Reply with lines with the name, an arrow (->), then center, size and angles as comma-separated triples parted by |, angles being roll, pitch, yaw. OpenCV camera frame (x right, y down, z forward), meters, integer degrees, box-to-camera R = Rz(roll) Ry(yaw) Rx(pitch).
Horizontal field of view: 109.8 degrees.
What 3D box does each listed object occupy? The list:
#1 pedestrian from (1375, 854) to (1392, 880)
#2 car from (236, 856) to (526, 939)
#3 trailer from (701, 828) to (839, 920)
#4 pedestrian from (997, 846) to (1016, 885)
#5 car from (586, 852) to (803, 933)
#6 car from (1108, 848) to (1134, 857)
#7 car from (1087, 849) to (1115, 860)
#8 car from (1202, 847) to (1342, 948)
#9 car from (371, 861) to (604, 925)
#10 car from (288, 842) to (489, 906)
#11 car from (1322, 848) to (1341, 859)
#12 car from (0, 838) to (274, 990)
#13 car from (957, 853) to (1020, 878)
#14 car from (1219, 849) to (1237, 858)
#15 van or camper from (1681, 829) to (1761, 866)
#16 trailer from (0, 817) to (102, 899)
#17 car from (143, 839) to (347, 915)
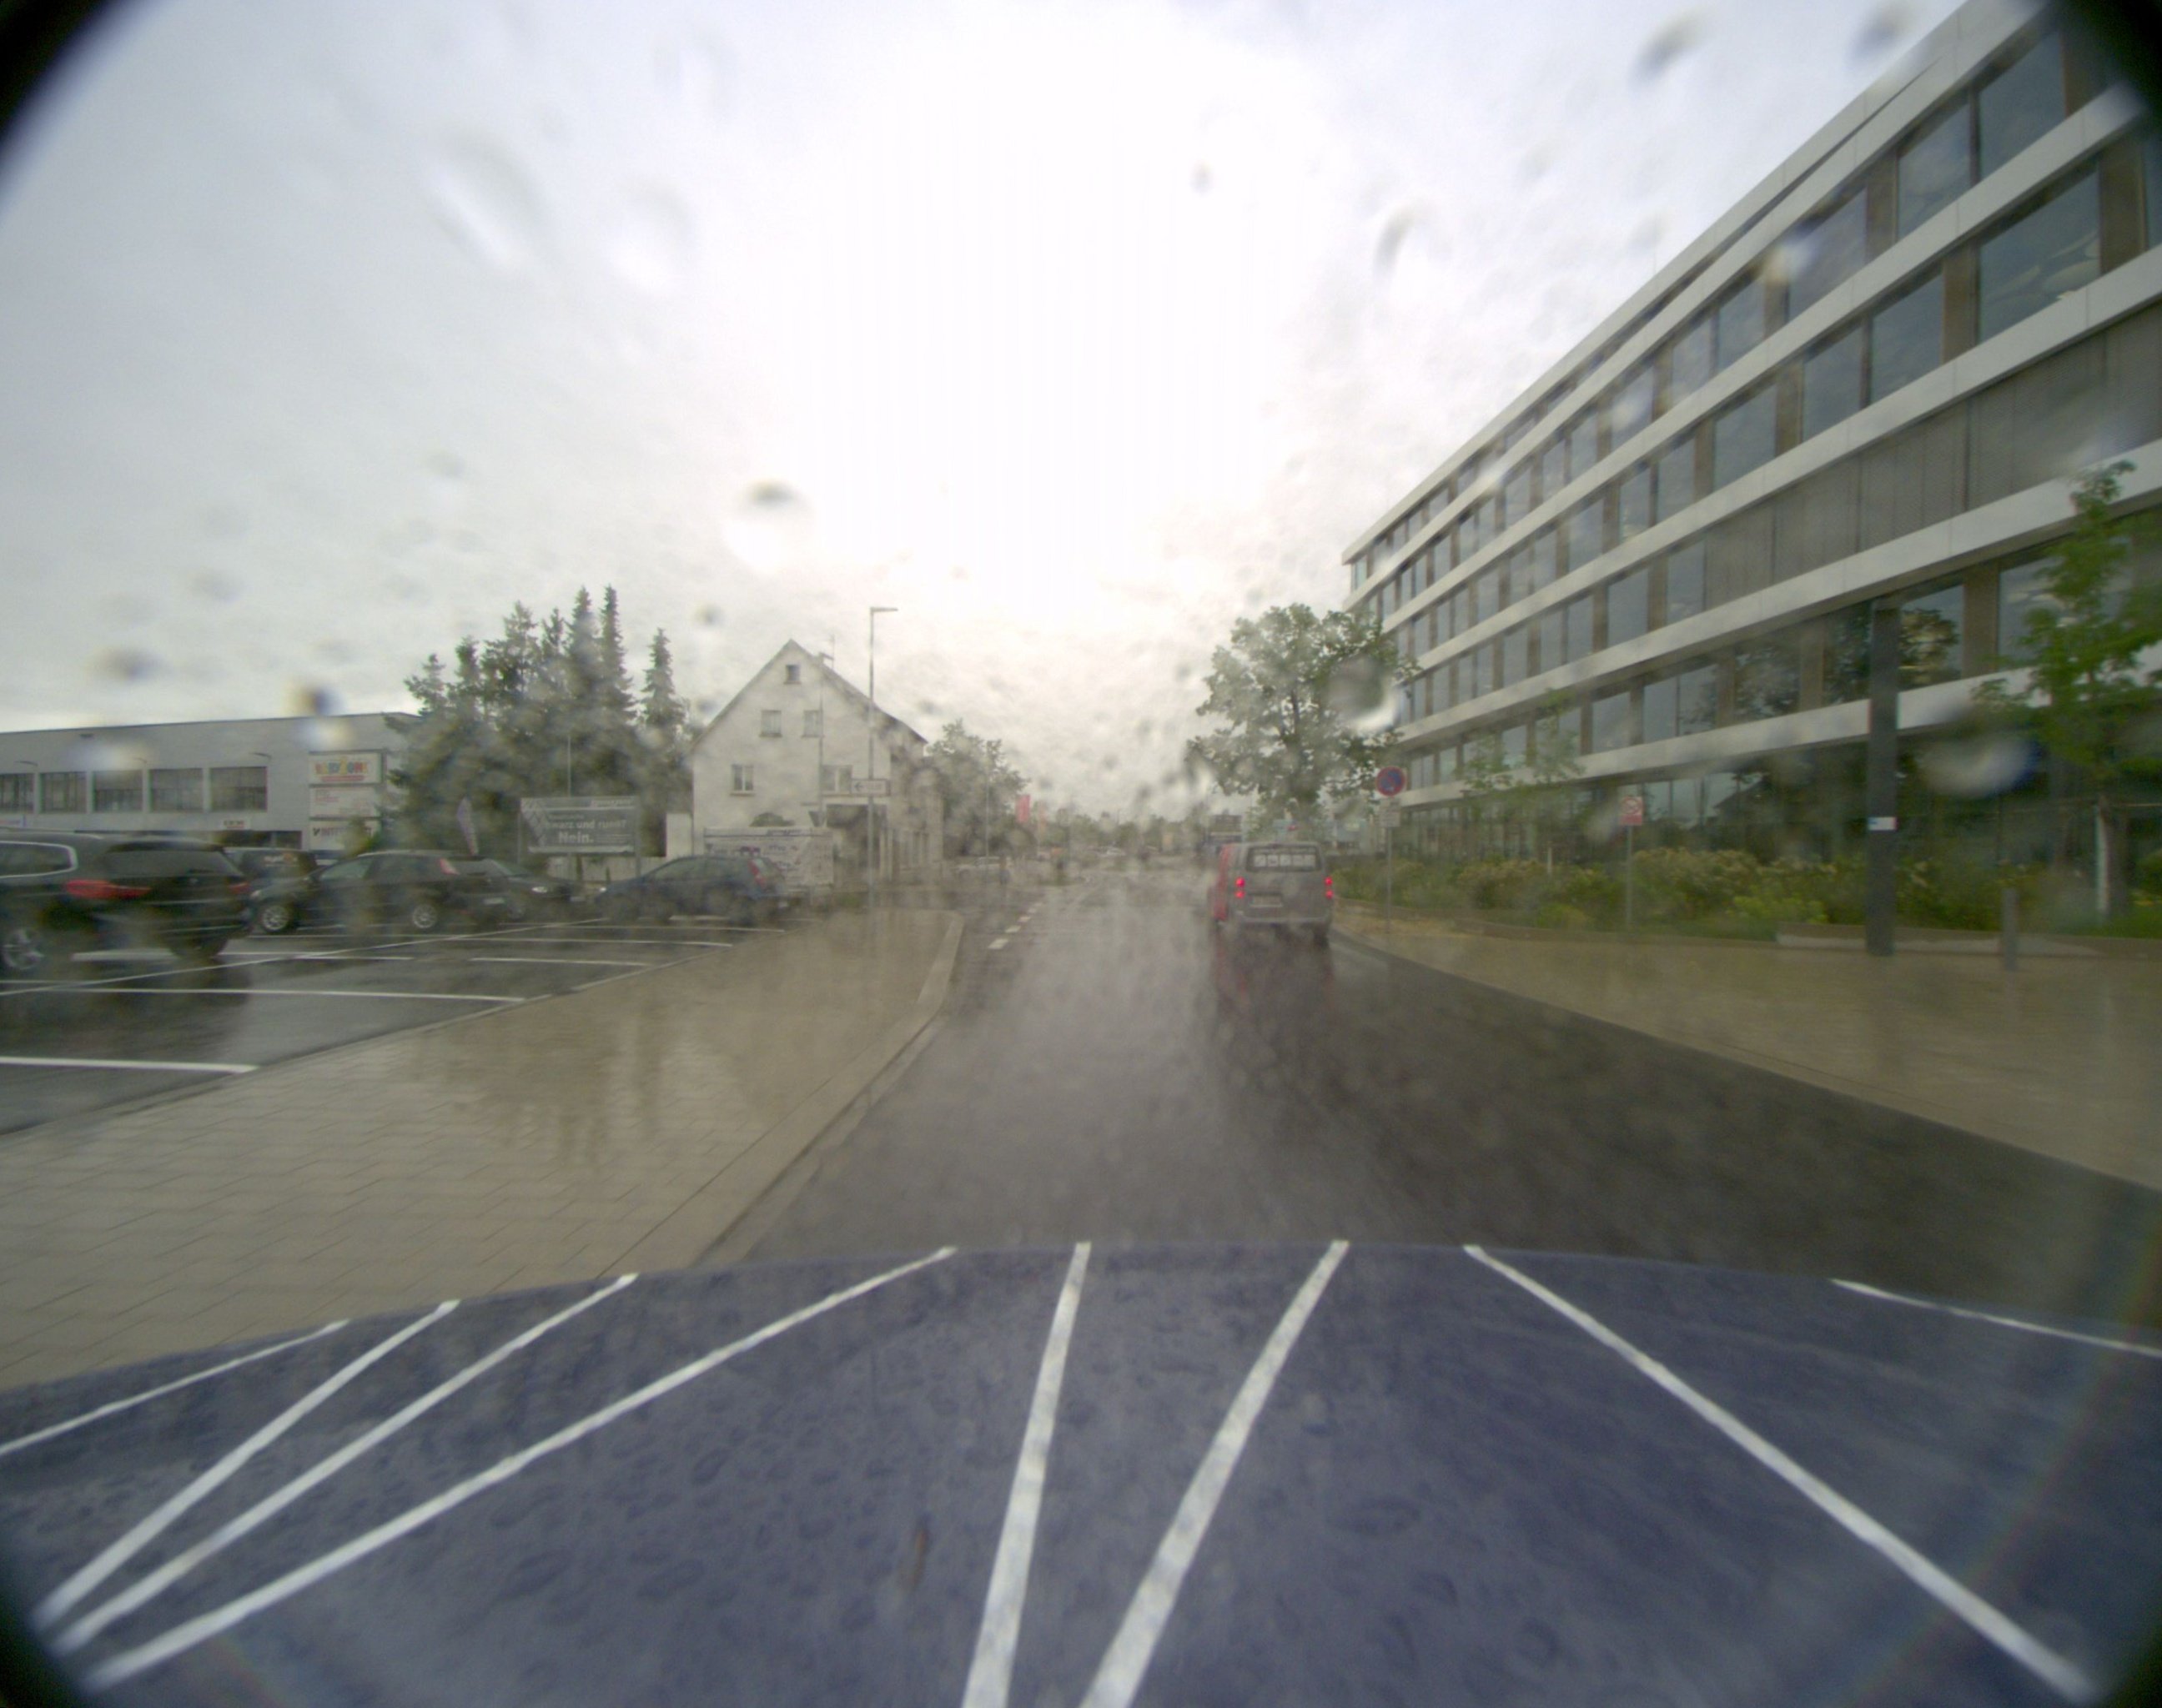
pedestrian -> 20.800, 0.881, 52.269 | 0.726, 1.694, 0.956 | -3, 2, 4
car -> -12.898, 0.776, 14.194 | 3.736, 1.440, 1.730 | 0, 0, -3
trailer -> -7.516, 0.471, 18.544 | 2.708, 2.159, 1.548 | 0, 0, 3
pedestrian -> -4.048, 0.616, 41.154 | 0.861, 2.002, 1.195 | 2, 0, -1
car -> -8.084, 0.766, 16.100 | 3.735, 1.520, 1.650 | 1, 1, 1
car -> 6.878, -0.255, 130.537 | 3.990, 1.433, 2.004 | 0, 0, 25
car -> 3.206, 0.070, 121.116 | 4.095, 1.696, 2.004 | 0, 0, 28
car -> 3.817, 0.788, 16.117 | 2.007, 1.807, 4.981 | 0, 0, 3
car -> -12.881, 0.823, 16.674 | 3.736, 1.307, 1.692 | 0, 0, -3
car -> -21.825, 0.583, 24.254 | 1.890, 1.818, 4.494 | 1, 0, 10
car -> 32.620, -0.033, 98.981 | 1.883, 1.288, 4.007 | -3, -1, 25
car -> -12.890, 0.637, 9.118 | 4.367, 1.642, 1.844 | 1, 0, -2
car -> -6.422, 0.779, 52.654 | 4.144, 1.571, 1.998 | 2, 0, -13
car -> 24.749, -0.094, 127.897 | 1.916, 1.521, 4.007 | -2, -1, 27
van or camper -> 57.997, -0.557, 68.955 | 5.090, 3.069, 2.003 | -2, 0, 22
trailer -> -38.781, 0.258, 26.928 | 5.878, 2.720, 2.938 | -3, 2, 17
car -> -22.384, 0.564, 20.380 | 4.480, 1.818, 1.896 | 1, 0, 16
